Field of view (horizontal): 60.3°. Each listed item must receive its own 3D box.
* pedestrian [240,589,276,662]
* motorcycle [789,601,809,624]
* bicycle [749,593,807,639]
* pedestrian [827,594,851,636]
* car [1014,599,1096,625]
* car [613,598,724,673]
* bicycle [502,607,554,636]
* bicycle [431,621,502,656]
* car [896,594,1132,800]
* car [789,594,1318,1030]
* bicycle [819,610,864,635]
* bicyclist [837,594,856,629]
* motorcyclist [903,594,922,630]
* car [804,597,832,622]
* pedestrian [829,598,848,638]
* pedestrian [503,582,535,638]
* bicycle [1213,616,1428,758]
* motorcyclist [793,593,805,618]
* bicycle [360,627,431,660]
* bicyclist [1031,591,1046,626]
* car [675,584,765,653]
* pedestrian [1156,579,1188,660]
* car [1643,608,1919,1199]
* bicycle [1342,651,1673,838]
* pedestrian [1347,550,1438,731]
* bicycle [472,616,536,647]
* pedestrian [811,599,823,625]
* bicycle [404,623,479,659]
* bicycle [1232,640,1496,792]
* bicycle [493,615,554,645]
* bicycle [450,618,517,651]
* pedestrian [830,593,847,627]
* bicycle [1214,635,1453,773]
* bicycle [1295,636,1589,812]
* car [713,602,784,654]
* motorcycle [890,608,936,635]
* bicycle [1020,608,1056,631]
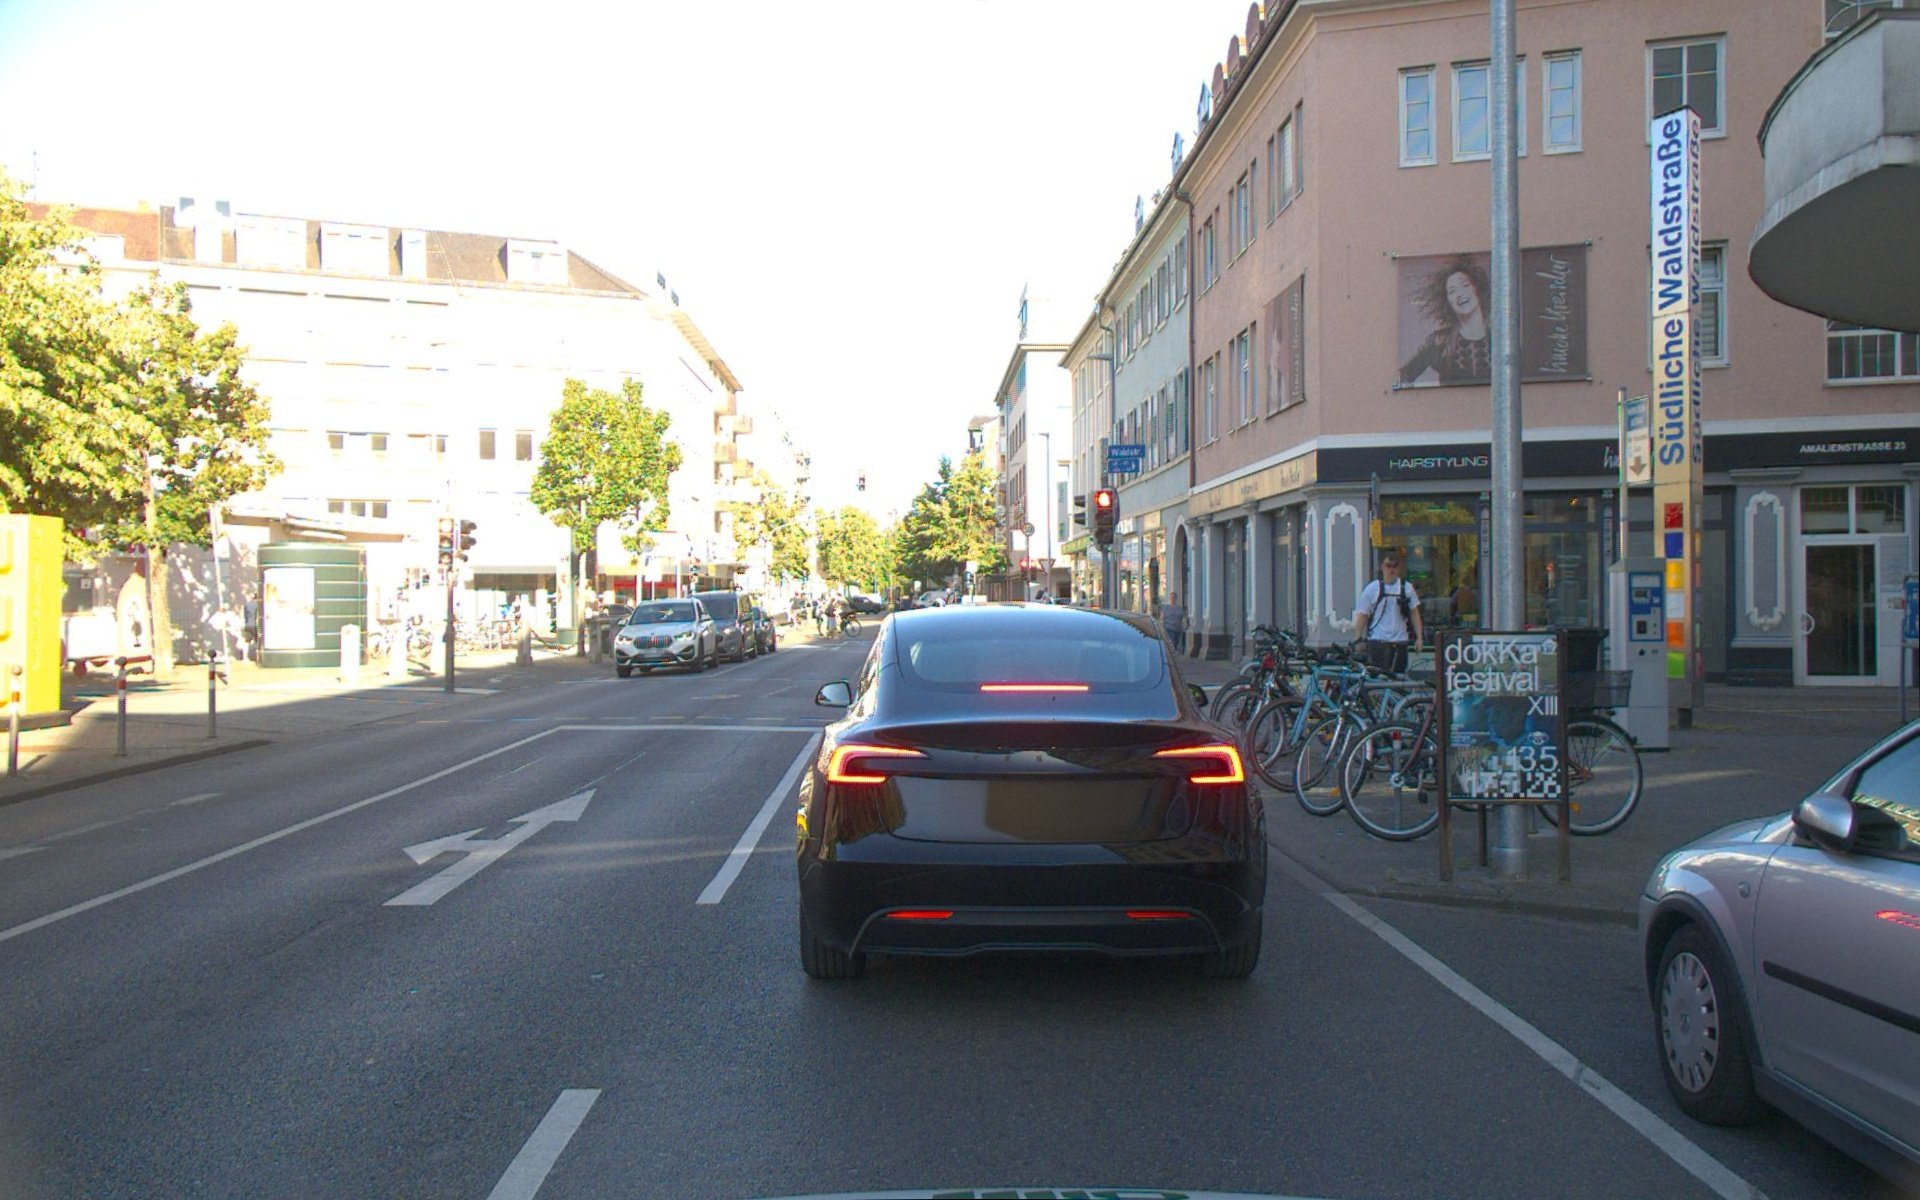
[{"bbox_3d":[-16.923,0.608,39.876,0.465,1.746,0.711,1,-1,8],"label":"pedestrian"},{"bbox_3d":[-8.062,0.628,82.978,0.970,1.105,0.351,1,0,-38],"label":"motorcycle"},{"bbox_3d":[-6.866,0.621,62.479,2.068,1.694,0.666,1,-1,-17],"label":"bicycle"},{"bbox_3d":[-4.823,0.597,65.890,0.742,1.660,0.951,1,-1,-18],"label":"pedestrian"},{"bbox_3d":[5.044,0.622,87.688,3.930,1.378,1.897,0,0,-22],"label":"car"},{"bbox_3d":[-6.293,0.742,36.056,1.752,1.485,3.756,-2,0,-1],"label":"car"},{"bbox_3d":[-20.261,1.024,77.594,2.334,1.318,0.509,1,-1,-27],"label":"bicycle"},{"bbox_3d":[-14.062,1.086,47.178,1.826,0.950,0.606,1,0,-2],"label":"bicycle"},{"bbox_3d":[0.314,0.688,13.687,1.683,1.450,3.755,0,0,-2],"label":"car"},{"bbox_3d":[0.291,0.723,7.587,1.785,1.467,3.999,0,0,-1],"label":"car"},{"bbox_3d":[-4.846,0.924,67.730,1.756,1.024,0.469,1,-1,-17],"label":"bicycle"},{"bbox_3d":[-4.662,0.490,67.790,0.659,1.420,0.460,1,-1,-17],"label":"bicyclist"},{"bbox_3d":[-2.030,0.502,70.453,0.709,1.555,0.513,0,0,-21],"label":"motorcyclist"},{"bbox_3d":[-9.073,0.614,105.669,1.673,1.579,3.692,0,0,-6],"label":"car"},{"bbox_3d":[-4.765,0.695,64.660,0.612,1.565,0.511,1,-1,-19],"label":"pedestrian"},{"bbox_3d":[-16.286,0.365,61.061,1.041,2.049,1.049,1,-1,-20],"label":"pedestrian"},{"bbox_3d":[3.199,0.768,14.777,1.789,1.189,0.506,-2,-1,5],"label":"bicycle"},{"bbox_3d":[-8.070,0.271,82.975,0.486,1.275,0.350,1,-1,-37],"label":"motorcyclist"},{"bbox_3d":[-14.453,1.111,42.385,1.612,0.806,0.606,1,0,-5],"label":"bicycle"},{"bbox_3d":[3.528,0.388,74.184,0.516,1.530,0.472,1,-1,-25],"label":"bicyclist"},{"bbox_3d":[-6.109,0.443,42.520,1.751,1.675,4.401,0,0,-1],"label":"car"},{"bbox_3d":[4.684,0.425,36.492,0.691,1.773,0.541,0,0,8],"label":"pedestrian"},{"bbox_3d":[2.919,0.769,3.491,1.515,1.414,3.477,0,1,0],"label":"car"},{"bbox_3d":[3.275,0.866,9.973,1.833,1.056,0.353,-2,-1,6],"label":"bicycle"},{"bbox_3d":[4.420,0.408,16.946,0.735,1.796,0.837,1,-1,3],"label":"pedestrian"},{"bbox_3d":[-14.334,0.979,52.003,1.826,0.950,0.606,0,0,-2],"label":"bicycle"},{"bbox_3d":[-7.907,0.675,91.560,0.516,1.447,0.474,1,-1,-31],"label":"pedestrian"},{"bbox_3d":[-14.101,1.111,44.968,1.826,0.950,0.606,1,0,-2],"label":"bicycle"},{"bbox_3d":[3.023,0.865,12.480,1.834,1.056,0.533,-2,-1,3],"label":"bicycle"},{"bbox_3d":[-14.370,0.988,54.451,1.826,0.950,0.606,0,0,-2],"label":"bicycle"},{"bbox_3d":[-14.298,1.032,49.648,1.826,0.950,0.606,1,0,-2],"label":"bicycle"},{"bbox_3d":[-6.725,0.546,91.424,0.666,1.820,0.703,1,-1,-36],"label":"pedestrian"},{"bbox_3d":[3.056,0.850,13.655,1.833,1.056,0.548,-2,-1,5],"label":"bicycle"},{"bbox_3d":[3.241,0.829,11.196,1.834,1.106,0.414,-2,-1,3],"label":"bicycle"},{"bbox_3d":[-6.333,0.815,49.835,1.680,1.471,3.844,1,0,-1],"label":"car"},{"bbox_3d":[-1.984,0.896,70.474,1.899,1.130,0.515,0,0,-22],"label":"motorcycle"},{"bbox_3d":[3.502,0.870,74.171,1.536,1.030,0.480,1,-1,-25],"label":"bicycle"}]
